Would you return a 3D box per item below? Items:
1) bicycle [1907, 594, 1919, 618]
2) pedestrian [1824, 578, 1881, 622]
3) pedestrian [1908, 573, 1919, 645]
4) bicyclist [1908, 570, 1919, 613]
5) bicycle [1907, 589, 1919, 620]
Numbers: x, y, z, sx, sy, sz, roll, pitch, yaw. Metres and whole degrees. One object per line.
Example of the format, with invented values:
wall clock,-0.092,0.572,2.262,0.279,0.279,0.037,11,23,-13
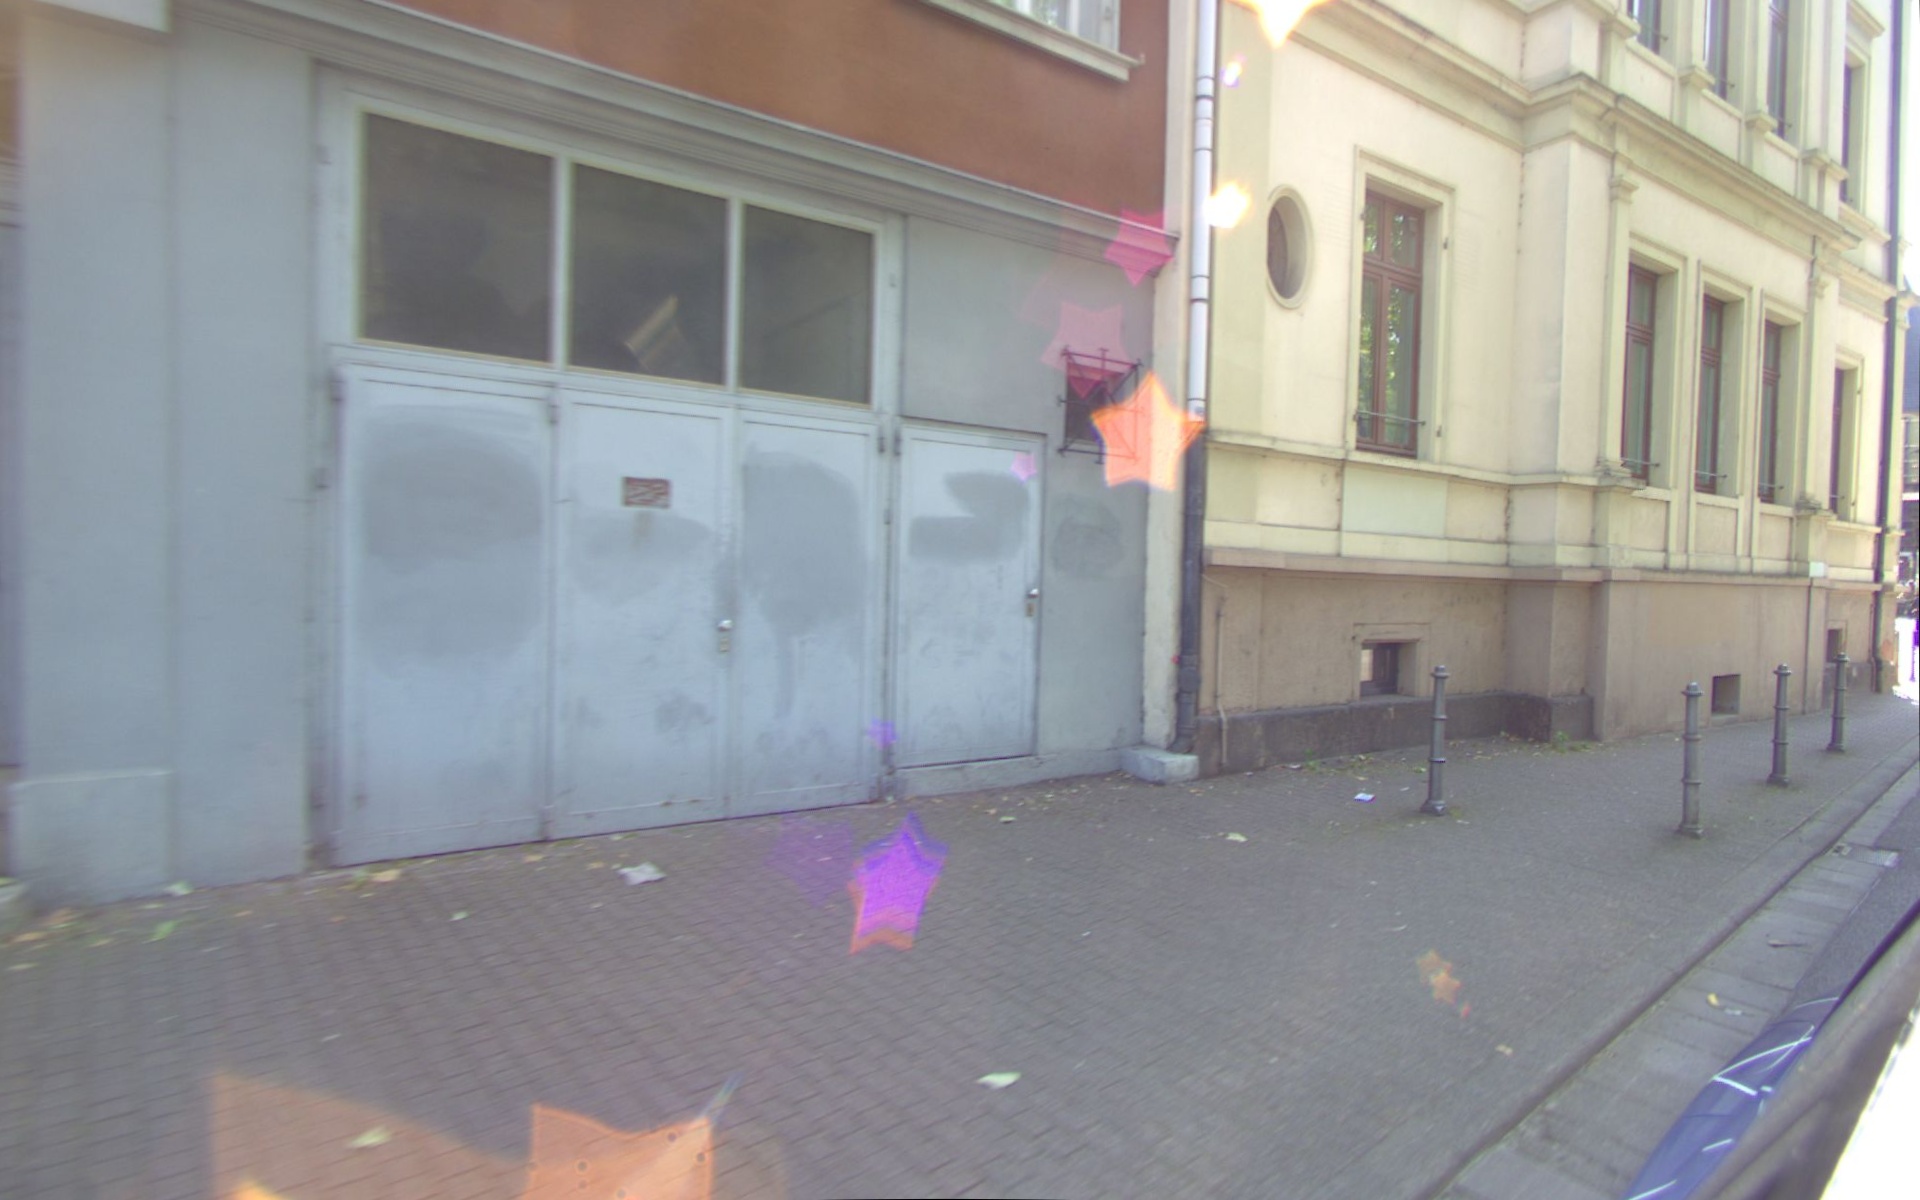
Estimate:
bicycle,49.376,0.304,52.047,1.813,1.167,0.844,-1,2,-42
pedestrian,27.647,-0.015,31.367,0.682,1.324,1.249,-1,2,-43
pedestrian,22.881,0.211,23.838,0.670,1.696,0.716,0,1,-42
bicyclist,37.571,-0.327,39.563,0.708,1.648,0.874,1,1,41
bicycle,37.663,0.172,39.676,0.688,1.143,1.980,1,2,40
